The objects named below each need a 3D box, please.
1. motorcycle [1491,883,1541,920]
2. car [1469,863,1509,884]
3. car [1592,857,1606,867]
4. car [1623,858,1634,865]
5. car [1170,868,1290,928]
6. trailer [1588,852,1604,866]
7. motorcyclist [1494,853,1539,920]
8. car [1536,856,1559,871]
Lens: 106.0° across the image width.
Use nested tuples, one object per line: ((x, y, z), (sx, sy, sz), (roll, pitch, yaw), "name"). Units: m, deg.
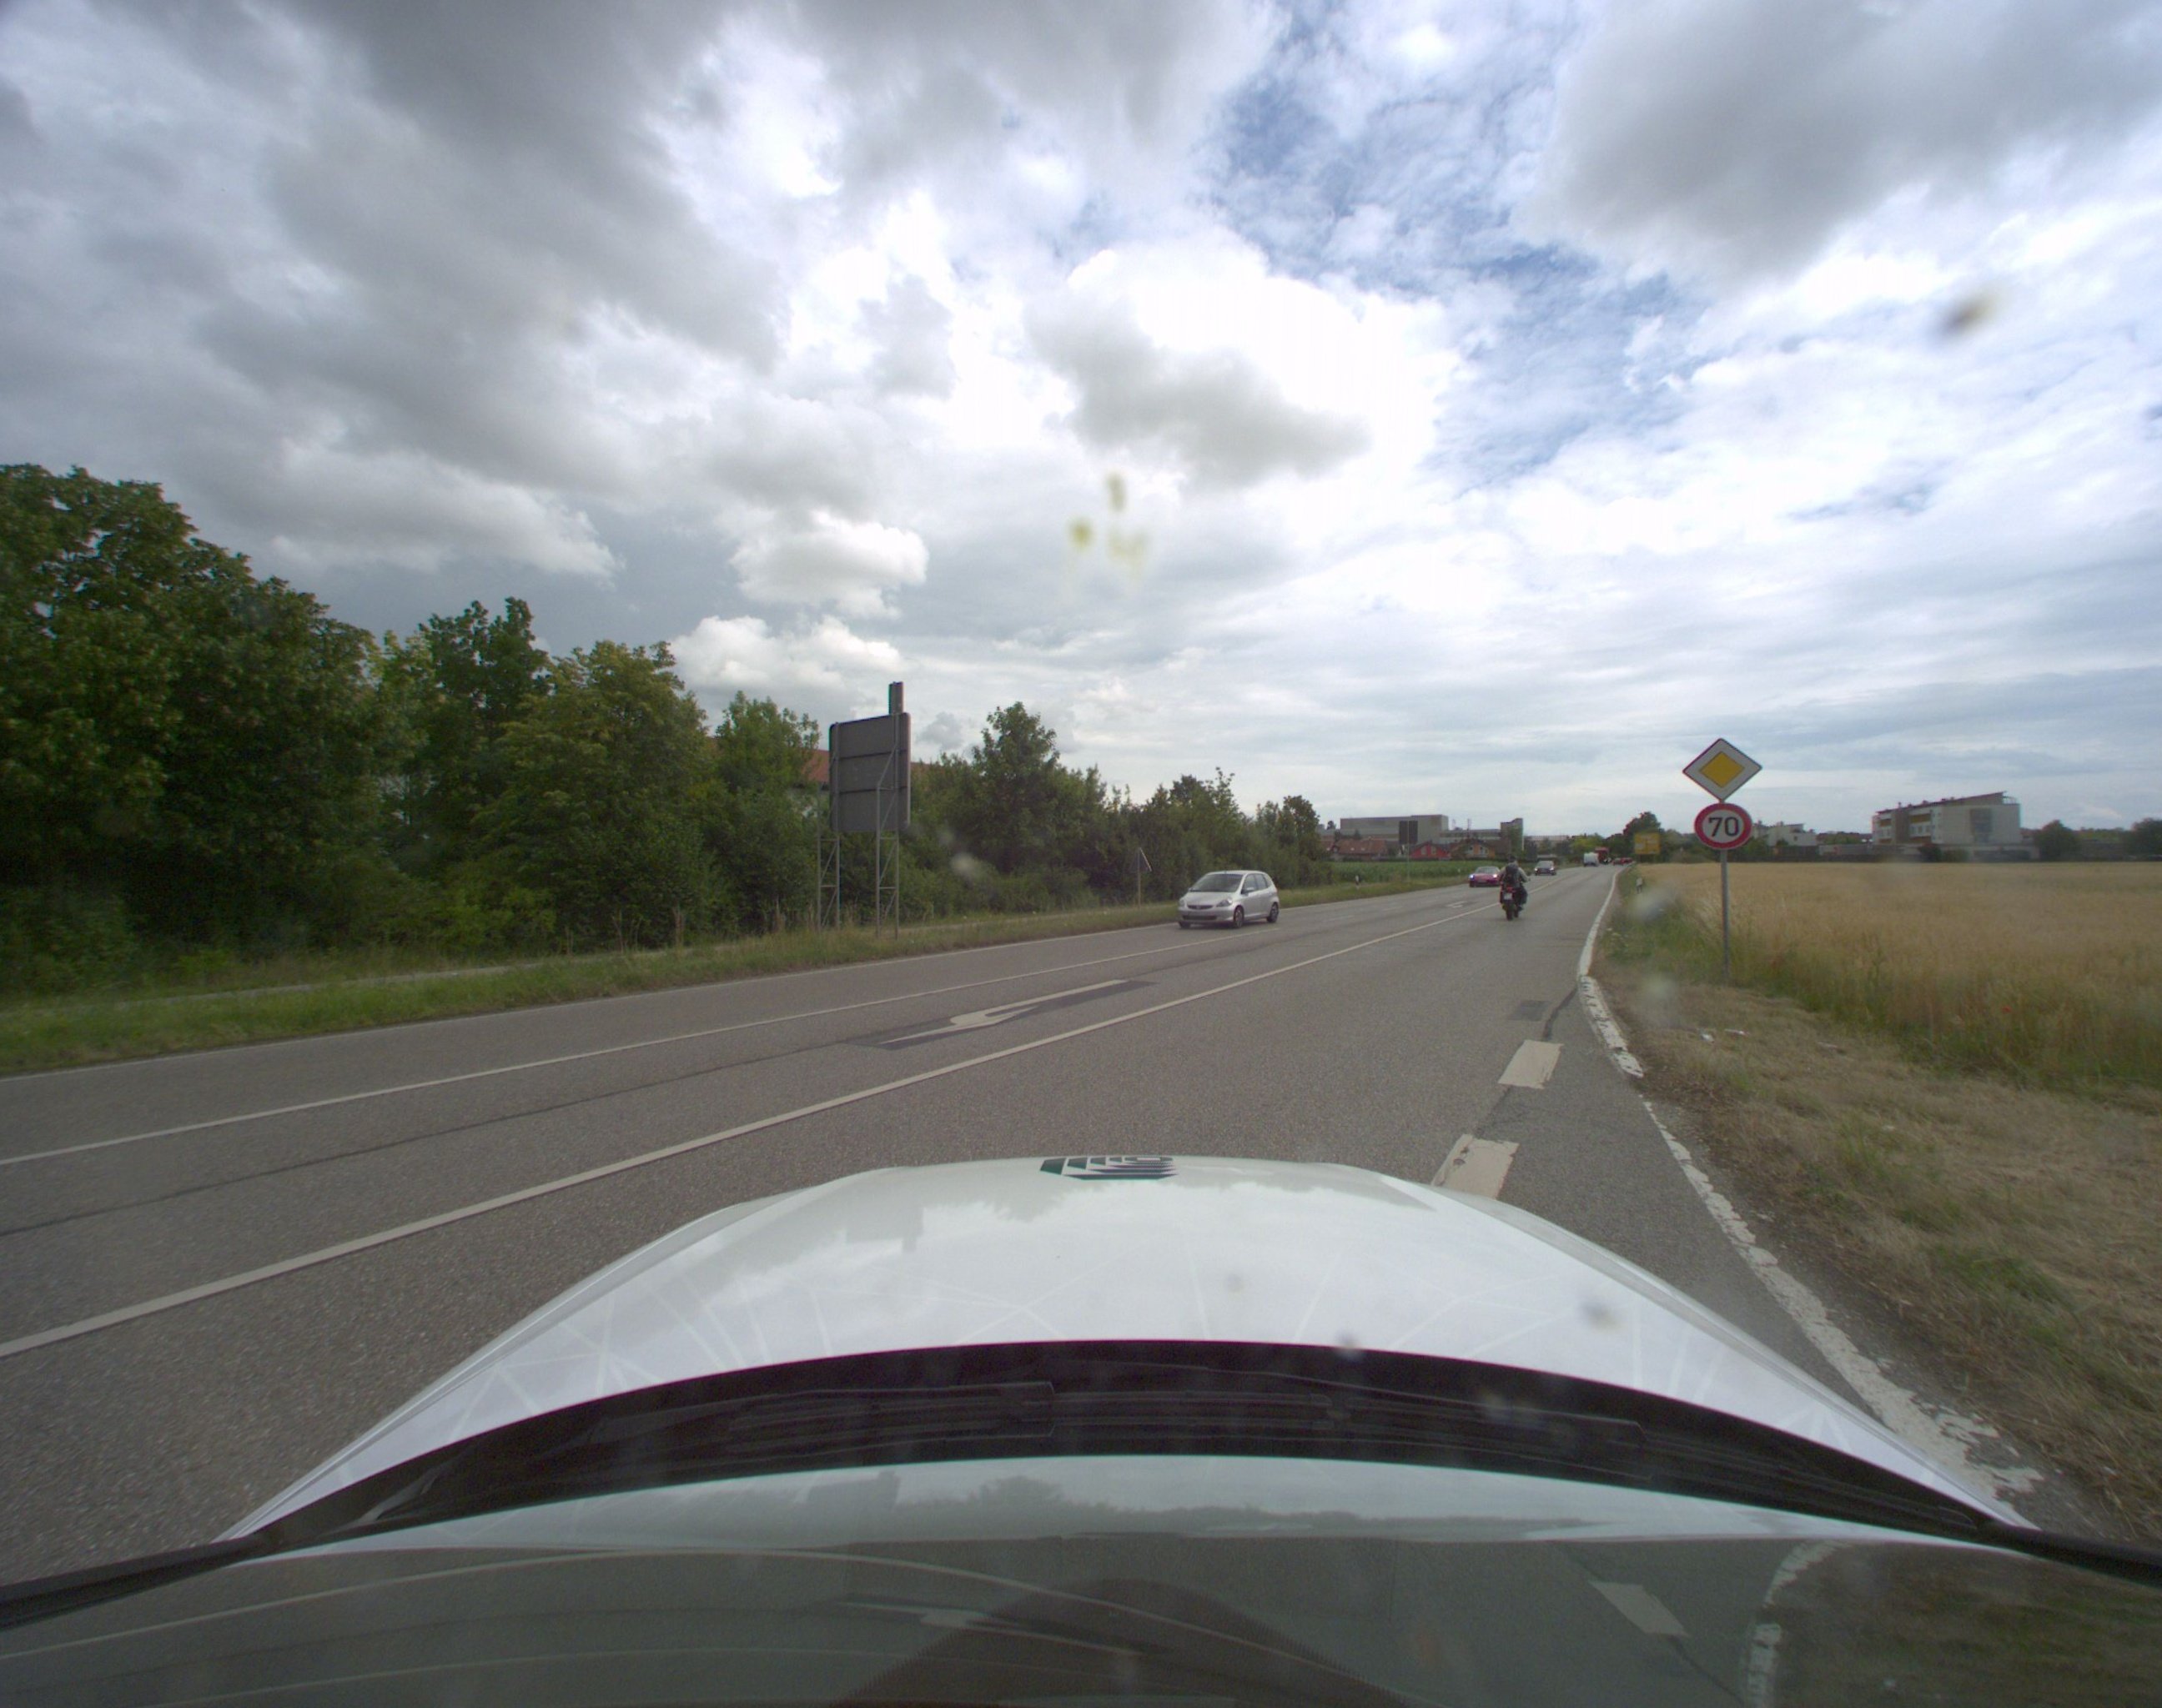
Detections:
((11.741, 1.257, 21.956), (0.932, 0.890, 2.159), (-1, -1, 35), "motorcycle")
((26.882, 1.262, 53.594), (1.754, 1.241, 4.238), (-2, -1, 35), "car")
((96.946, 1.475, 152.487), (1.974, 1.699, 4.705), (-1, -1, 35), "car")
((116.233, 1.523, 173.020), (1.837, 1.473, 4.025), (-1, -1, 35), "car")
((4.142, 1.145, 22.107), (1.713, 1.432, 3.960), (-3, -2, 34), "car")
((99.955, 0.967, 157.983), (2.301, 2.729, 7.892), (-1, -1, 35), "trailer")
((11.763, 0.847, 21.992), (0.932, 1.750, 1.208), (-1, -1, 35), "motorcyclist")
((47.913, 0.991, 83.599), (1.652, 1.429, 4.330), (-3, -2, 34), "car")
